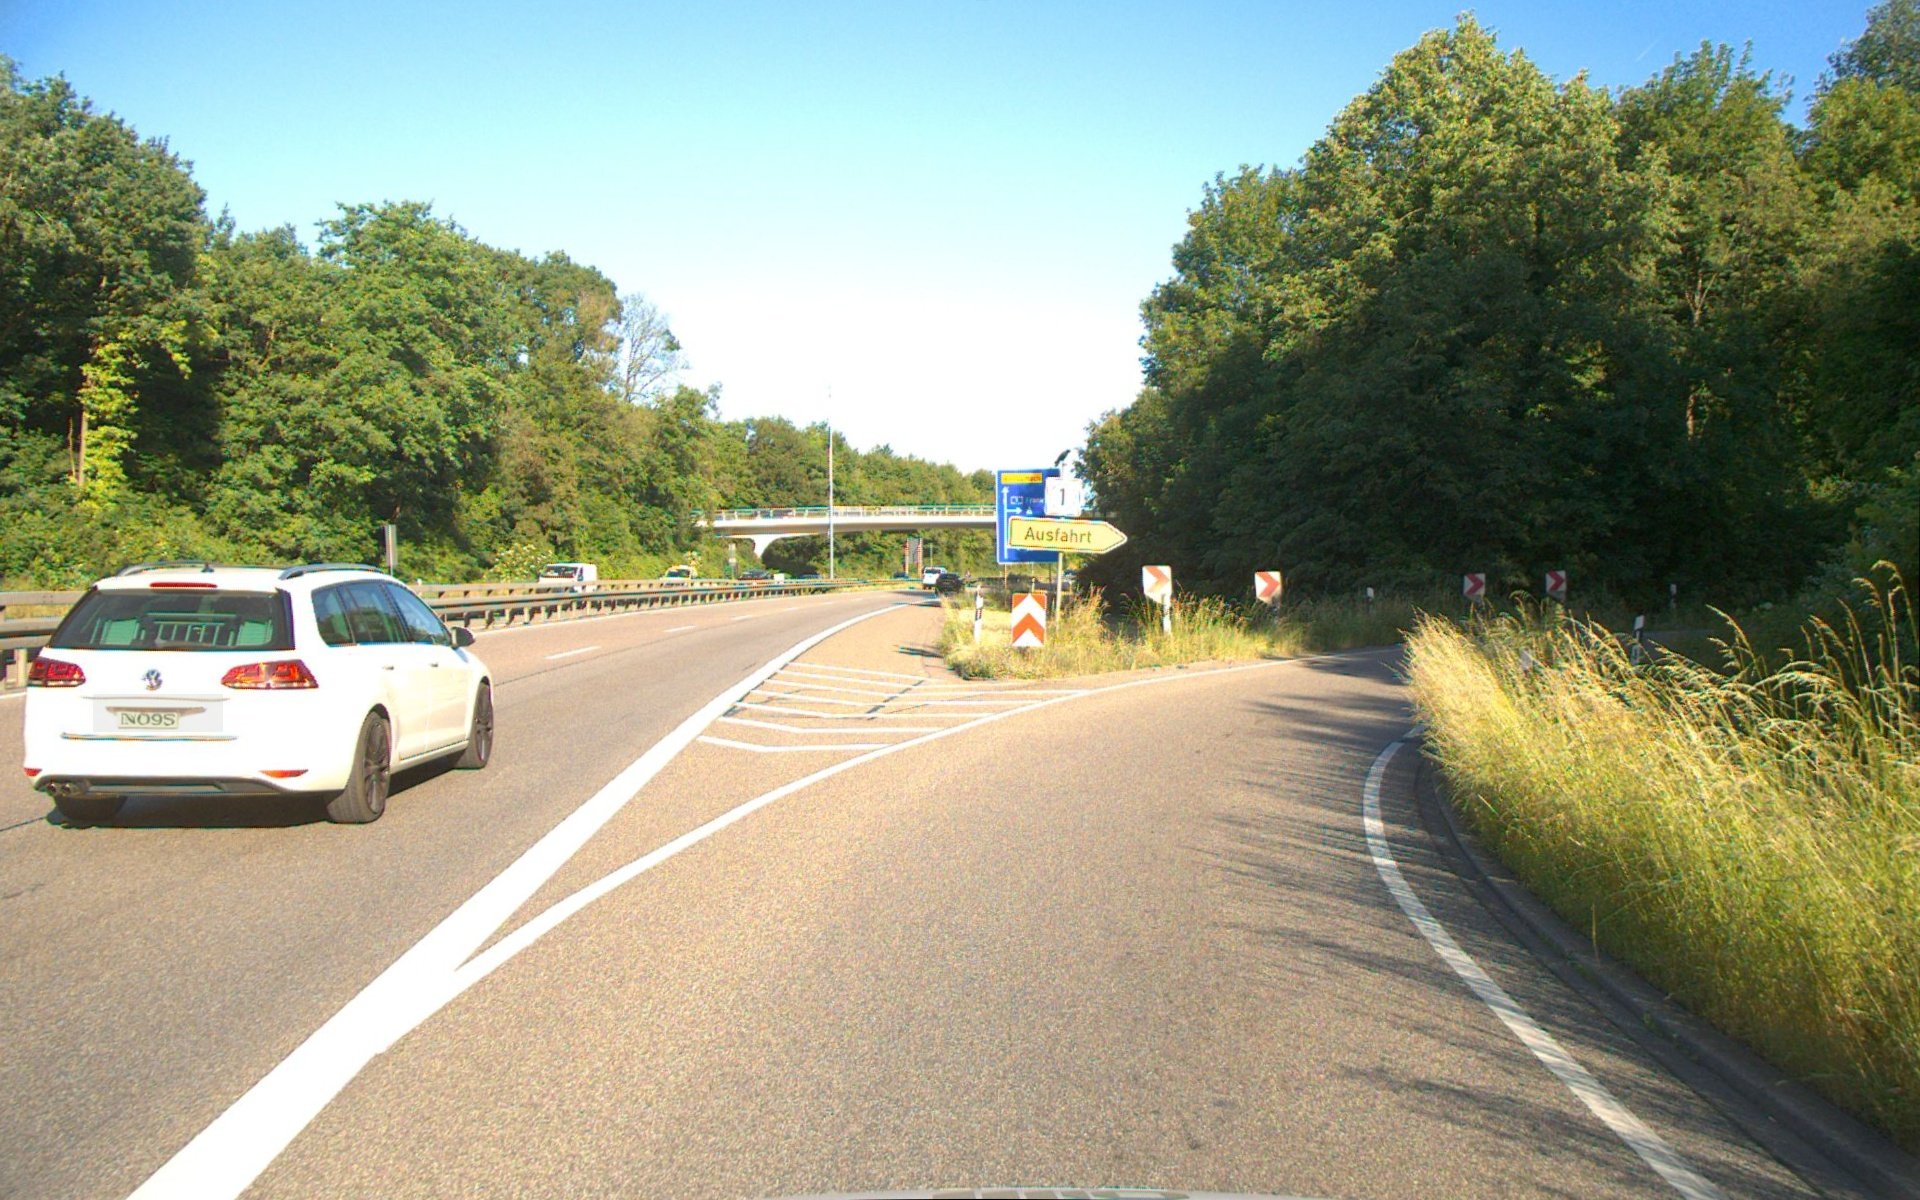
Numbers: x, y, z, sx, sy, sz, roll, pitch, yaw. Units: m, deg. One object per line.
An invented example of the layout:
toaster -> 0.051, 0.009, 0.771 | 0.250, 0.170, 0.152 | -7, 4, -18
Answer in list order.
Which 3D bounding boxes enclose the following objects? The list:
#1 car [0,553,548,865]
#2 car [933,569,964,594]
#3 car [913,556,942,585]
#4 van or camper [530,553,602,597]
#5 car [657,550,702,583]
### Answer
car -> -4.324, 0.503, 11.078 | 1.890, 1.534, 5.597 | 1, 1, -2
car -> -0.792, -1.306, 115.022 | 1.702, 1.691, 3.949 | 0, 1, 7
car -> -2.591, -2.368, 134.083 | 1.951, 2.317, 4.003 | 0, 1, 5
van or camper -> -18.949, -1.215, 79.719 | 2.030, 2.049, 4.821 | 0, 1, 4
car -> -17.403, -2.081, 102.833 | 1.952, 2.049, 4.002 | 0, 1, 2
